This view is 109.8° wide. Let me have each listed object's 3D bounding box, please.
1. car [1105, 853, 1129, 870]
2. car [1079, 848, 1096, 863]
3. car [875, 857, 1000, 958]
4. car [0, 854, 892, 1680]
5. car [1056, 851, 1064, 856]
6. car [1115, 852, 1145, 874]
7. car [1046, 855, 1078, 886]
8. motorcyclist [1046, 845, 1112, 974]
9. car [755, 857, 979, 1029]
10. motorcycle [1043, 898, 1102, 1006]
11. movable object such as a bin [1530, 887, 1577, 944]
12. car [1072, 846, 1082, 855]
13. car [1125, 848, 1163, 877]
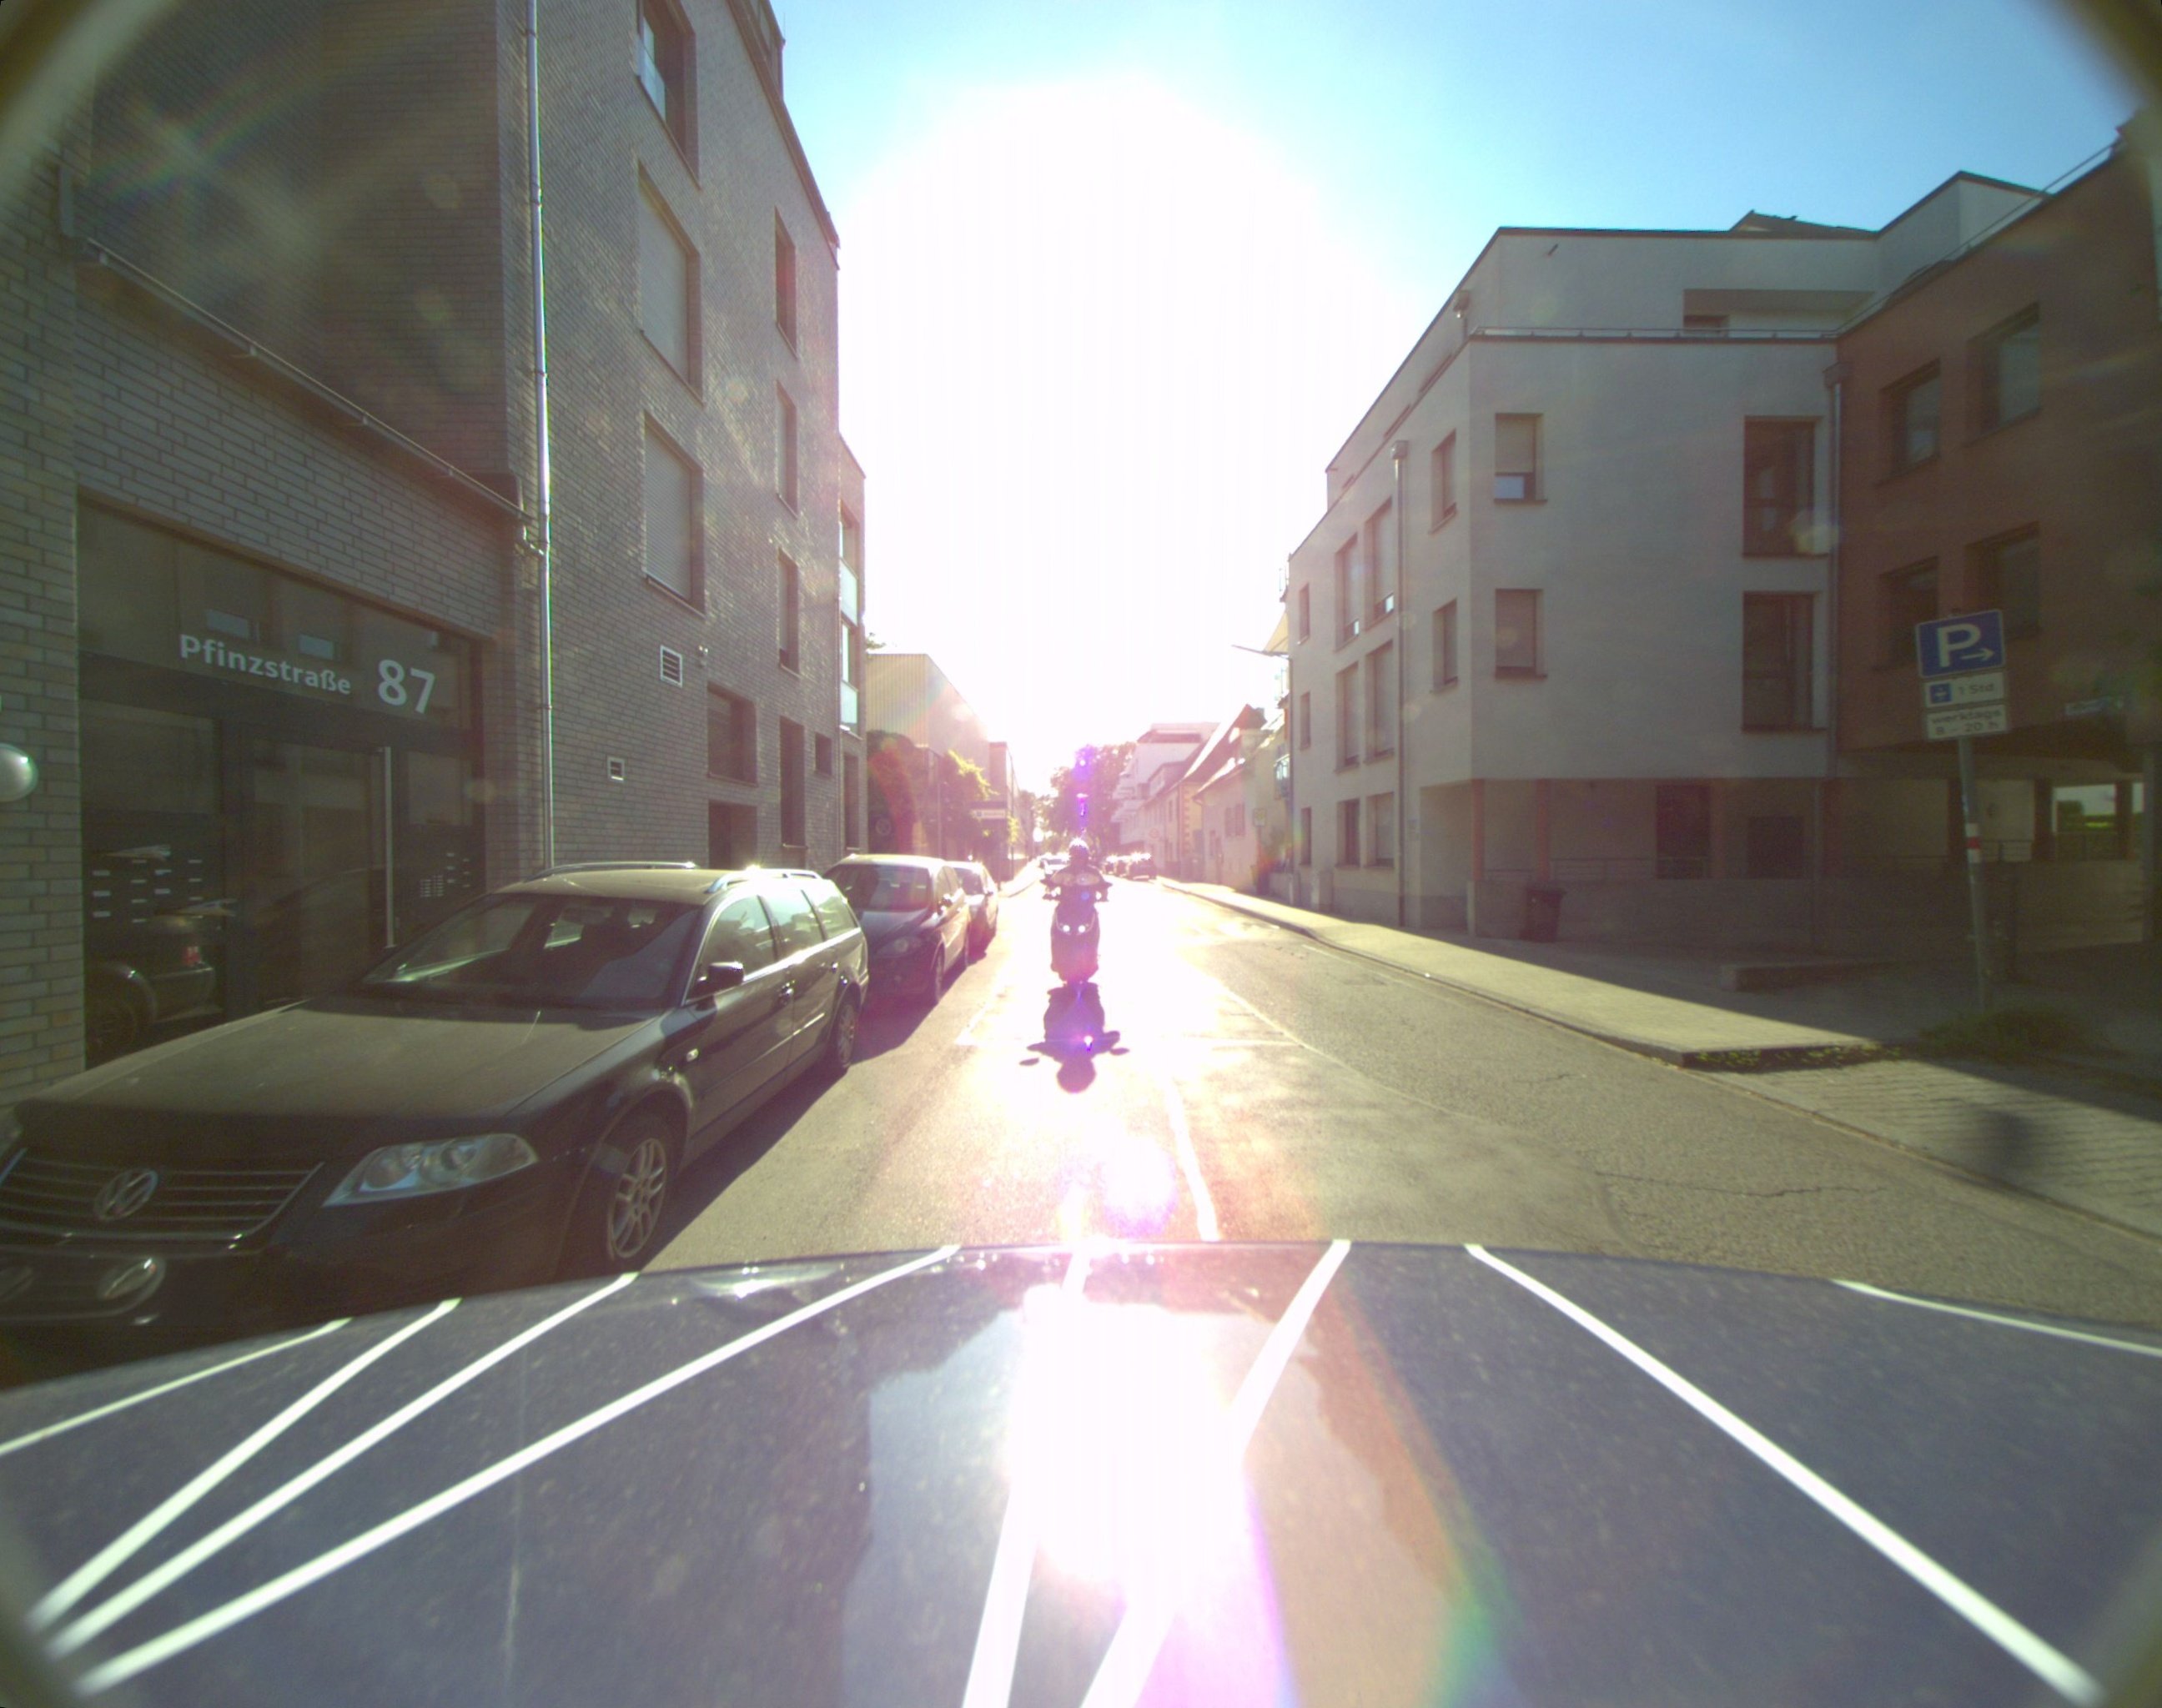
[{"bbox_3d":[3.326,0.704,70.465,1.999,1.458,3.999,-1,1,-1],"label":"car"},{"bbox_3d":[0.733,0.133,85.963,1.736,1.456,3.998,-4,2,-1],"label":"car"},{"bbox_3d":[-2.439,0.843,13.751,1.732,1.515,3.653,-1,1,-3],"label":"car"},{"bbox_3d":[-2.426,0.897,4.037,1.671,1.723,4.838,-1,1,-1],"label":"car"},{"bbox_3d":[-5.649,-0.241,206.873,1.999,1.346,3.999,0,0,0],"label":"car"},{"bbox_3d":[3.853,0.705,60.298,1.999,1.614,3.999,-1,1,-1],"label":"car"},{"bbox_3d":[-1.093,0.912,44.249,1.708,1.570,3.914,-3,1,-2],"label":"car"},{"bbox_3d":[-0.022,0.618,8.857,0.717,1.424,0.746,-1,1,1],"label":"motorcyclist"},{"bbox_3d":[-2.292,0.846,9.285,1.655,1.582,4.341,1,0,-2],"label":"car"},{"bbox_3d":[-0.074,1.072,8.818,0.598,1.004,1.821,-1,1,1],"label":"motorcycle"},{"bbox_3d":[7.610,0.990,12.253,0.491,0.871,0.433,-1,1,-3],"label":"movable object such as a bin"},{"bbox_3d":[-0.879,-0.730,153.052,1.999,1.665,3.999,0,0,0],"label":"car"},{"bbox_3d":[4.212,0.563,51.630,1.999,1.619,3.999,-8,1,-1],"label":"car"}]
